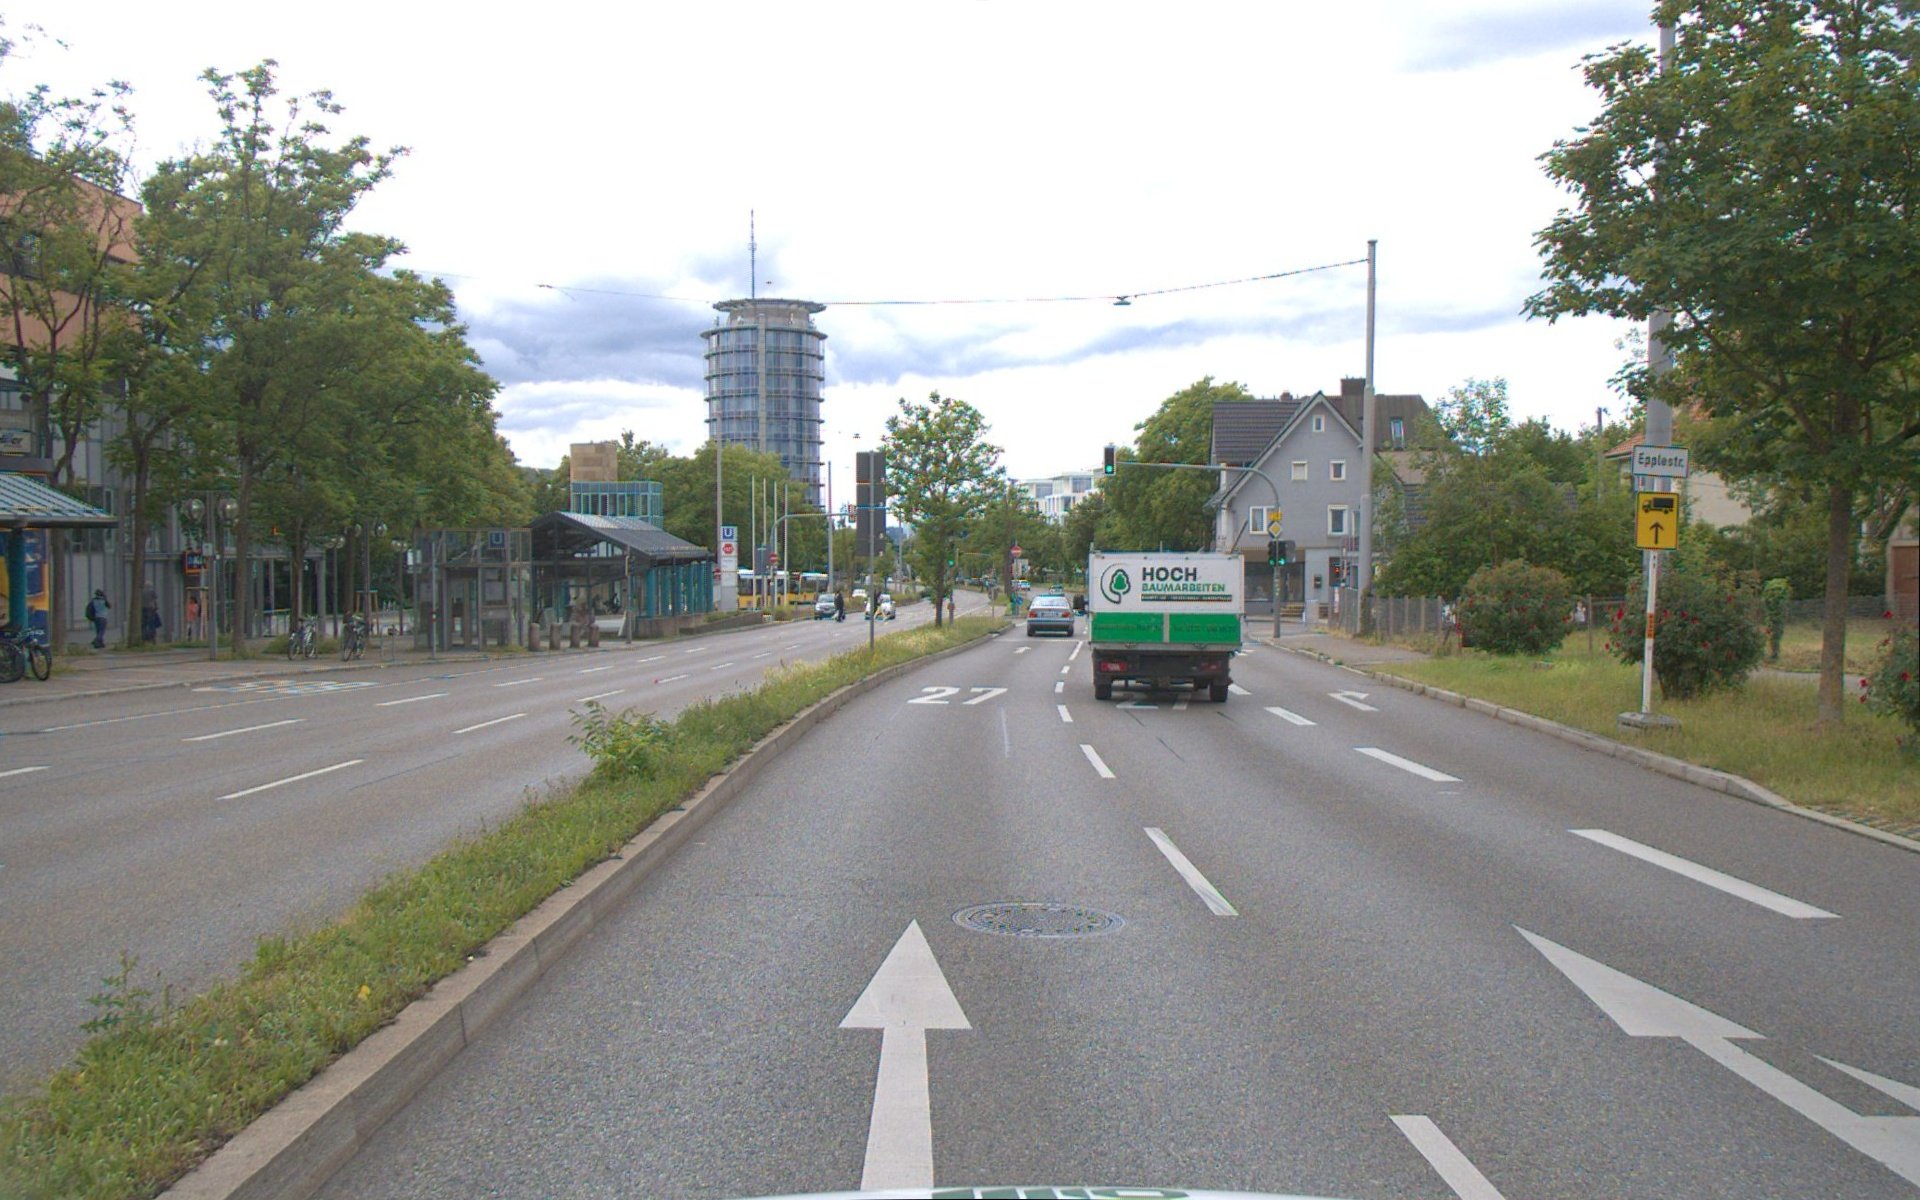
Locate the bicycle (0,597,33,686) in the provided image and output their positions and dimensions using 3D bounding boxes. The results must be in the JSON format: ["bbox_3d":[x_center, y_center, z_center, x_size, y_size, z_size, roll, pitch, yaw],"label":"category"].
[{"bbox_3d":[-17.890,0.733,28.914,2.841,1.533,0.805,-1,0,-4],"label":"bicycle"}]

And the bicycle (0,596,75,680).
[{"bbox_3d":[-18.033,0.710,30.625,2.841,1.533,0.700,-1,0,-4],"label":"bicycle"}]

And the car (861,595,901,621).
[{"bbox_3d":[-4.755,0.460,100.526,1.952,1.512,4.002,-1,0,4],"label":"car"}]

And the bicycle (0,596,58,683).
[{"bbox_3d":[-17.930,0.718,29.814,2.841,1.533,0.778,-1,0,-4],"label":"bicycle"}]

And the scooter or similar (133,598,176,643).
[{"bbox_3d":[-23.447,0.582,48.146,0.470,1.289,1.289,2,0,8],"label":"scooter or similar"}]

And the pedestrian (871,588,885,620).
[{"bbox_3d":[-4.530,0.199,91.101,0.730,1.746,0.582,-1,0,-2],"label":"pedestrian"}]

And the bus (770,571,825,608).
[{"bbox_3d":[-16.172,-1.002,165.344,2.771,3.490,10.742,-1,0,9],"label":"bus"}]

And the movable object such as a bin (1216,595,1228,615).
[{"bbox_3d":[14.470,0.259,91.309,0.591,1.078,0.590,1,0,7],"label":"movable object such as a bin"}]

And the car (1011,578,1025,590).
[{"bbox_3d":[7.893,-2.160,225.210,1.952,1.545,4.001,-1,0,2],"label":"car"}]

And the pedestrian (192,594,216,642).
[{"bbox_3d":[-25.587,0.595,55.963,0.506,1.616,0.680,-1,0,-3],"label":"pedestrian"}]

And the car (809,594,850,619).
[{"bbox_3d":[-7.959,0.396,101.172,1.952,1.512,4.002,-1,0,4],"label":"car"}]

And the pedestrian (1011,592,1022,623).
[{"bbox_3d":[3.222,0.401,93.947,0.571,1.746,0.546,-1,0,-2],"label":"pedestrian"}]

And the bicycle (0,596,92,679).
[{"bbox_3d":[-18.005,0.702,31.246,2.841,1.533,0.598,-1,0,-4],"label":"bicycle"}]

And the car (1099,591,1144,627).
[{"bbox_3d":[7.302,0.388,74.987,1.951,1.579,4.002,1,0,5],"label":"car"}]

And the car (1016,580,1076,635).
[{"bbox_3d":[3.099,0.240,58.781,1.951,1.862,4.002,1,0,5],"label":"car"}]

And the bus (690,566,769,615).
[{"bbox_3d":[-17.061,-0.686,123.431,2.771,3.490,10.742,-1,0,9],"label":"bus"}]

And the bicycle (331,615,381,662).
[{"bbox_3d":[-15.234,0.954,41.770,0.814,1.102,1.932,-1,0,-9],"label":"bicycle"}]

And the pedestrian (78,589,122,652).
[{"bbox_3d":[-24.175,0.575,46.528,0.755,1.746,0.886,2,0,-4],"label":"pedestrian"}]

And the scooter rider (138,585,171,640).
[{"bbox_3d":[-23.436,0.369,48.125,0.514,1.572,0.707,2,0,7],"label":"scooter rider"}]

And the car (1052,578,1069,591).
[{"bbox_3d":[11.945,-1.808,196.966,1.952,1.545,4.001,-1,0,2],"label":"car"}]

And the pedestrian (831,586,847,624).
[{"bbox_3d":[-6.653,0.257,90.799,0.813,2.049,0.546,-1,0,-2],"label":"pedestrian"}]

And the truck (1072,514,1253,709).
[{"bbox_3d":[3.021,0.084,26.130,2.419,2.657,6.551,1,1,4],"label":"truck"}]

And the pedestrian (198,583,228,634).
[{"bbox_3d":[-24.223,0.271,53.628,0.621,1.614,0.825,-1,0,-5],"label":"pedestrian"}]

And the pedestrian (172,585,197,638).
[{"bbox_3d":[-26.201,0.387,55.880,0.553,1.757,0.680,-1,0,-3],"label":"pedestrian"}]

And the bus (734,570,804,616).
[{"bbox_3d":[-15.291,-0.546,133.375,2.771,3.490,10.742,-1,0,9],"label":"bus"}]

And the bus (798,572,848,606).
[{"bbox_3d":[-14.477,-1.122,175.979,2.771,3.490,10.742,-1,0,9],"label":"bus"}]

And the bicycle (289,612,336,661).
[{"bbox_3d":[-16.322,0.909,41.705,0.700,1.156,1.952,-1,0,-10],"label":"bicycle"}]

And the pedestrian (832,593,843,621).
[{"bbox_3d":[-6.773,0.388,91.541,0.532,1.522,0.487,-1,0,2],"label":"pedestrian"}]

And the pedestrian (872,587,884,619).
[{"bbox_3d":[-4.496,0.186,90.450,0.640,1.746,0.452,-1,0,-2],"label":"pedestrian"}]
